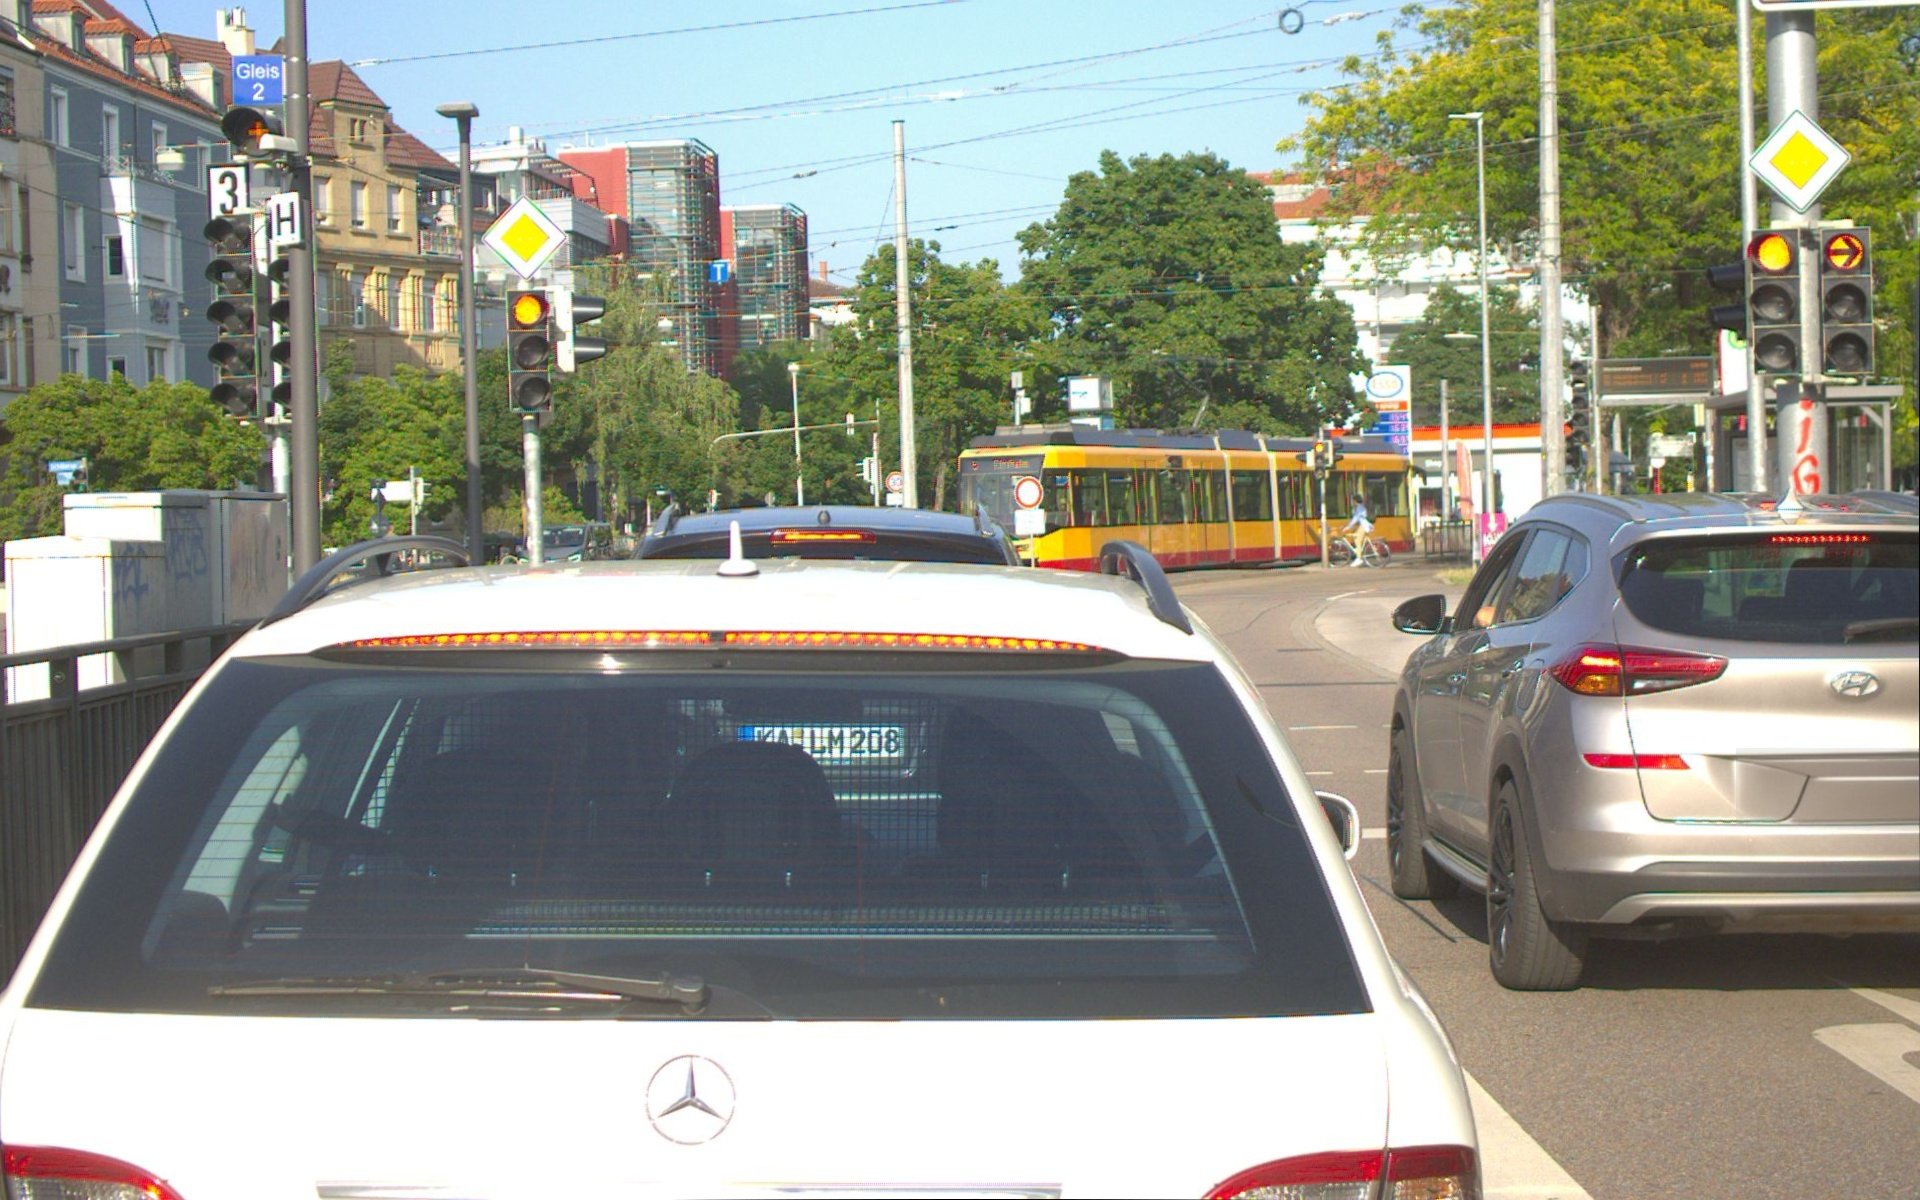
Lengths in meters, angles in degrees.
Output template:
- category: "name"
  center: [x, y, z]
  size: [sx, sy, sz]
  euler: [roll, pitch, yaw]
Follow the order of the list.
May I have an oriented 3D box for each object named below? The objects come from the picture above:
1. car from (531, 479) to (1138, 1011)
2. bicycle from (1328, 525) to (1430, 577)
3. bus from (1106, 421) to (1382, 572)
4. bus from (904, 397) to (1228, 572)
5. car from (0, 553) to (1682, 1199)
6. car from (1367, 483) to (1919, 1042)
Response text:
- category: "car"
  center: [-0.409, 0.418, 12.599]
  size: [1.885, 1.645, 3.648]
  euler: [1, 1, 0]
- category: "bicycle"
  center: [10.378, -1.208, 85.143]
  size: [2.483, 1.209, 0.806]
  euler: [-1, 1, 8]
- category: "bus"
  center: [7.538, -2.555, 88.749]
  size: [3.112, 3.593, 12.575]
  euler: [1, 1, 24]
- category: "bus"
  center: [2.622, -2.448, 77.303]
  size: [3.112, 3.593, 12.360]
  euler: [1, 1, 22]
- category: "car"
  center: [-0.270, 0.679, 4.932]
  size: [1.796, 1.465, 3.648]
  euler: [0, 1, -1]
- category: "car"
  center: [2.635, 0.439, 12.154]
  size: [1.885, 1.645, 3.648]
  euler: [-2, 1, 0]
